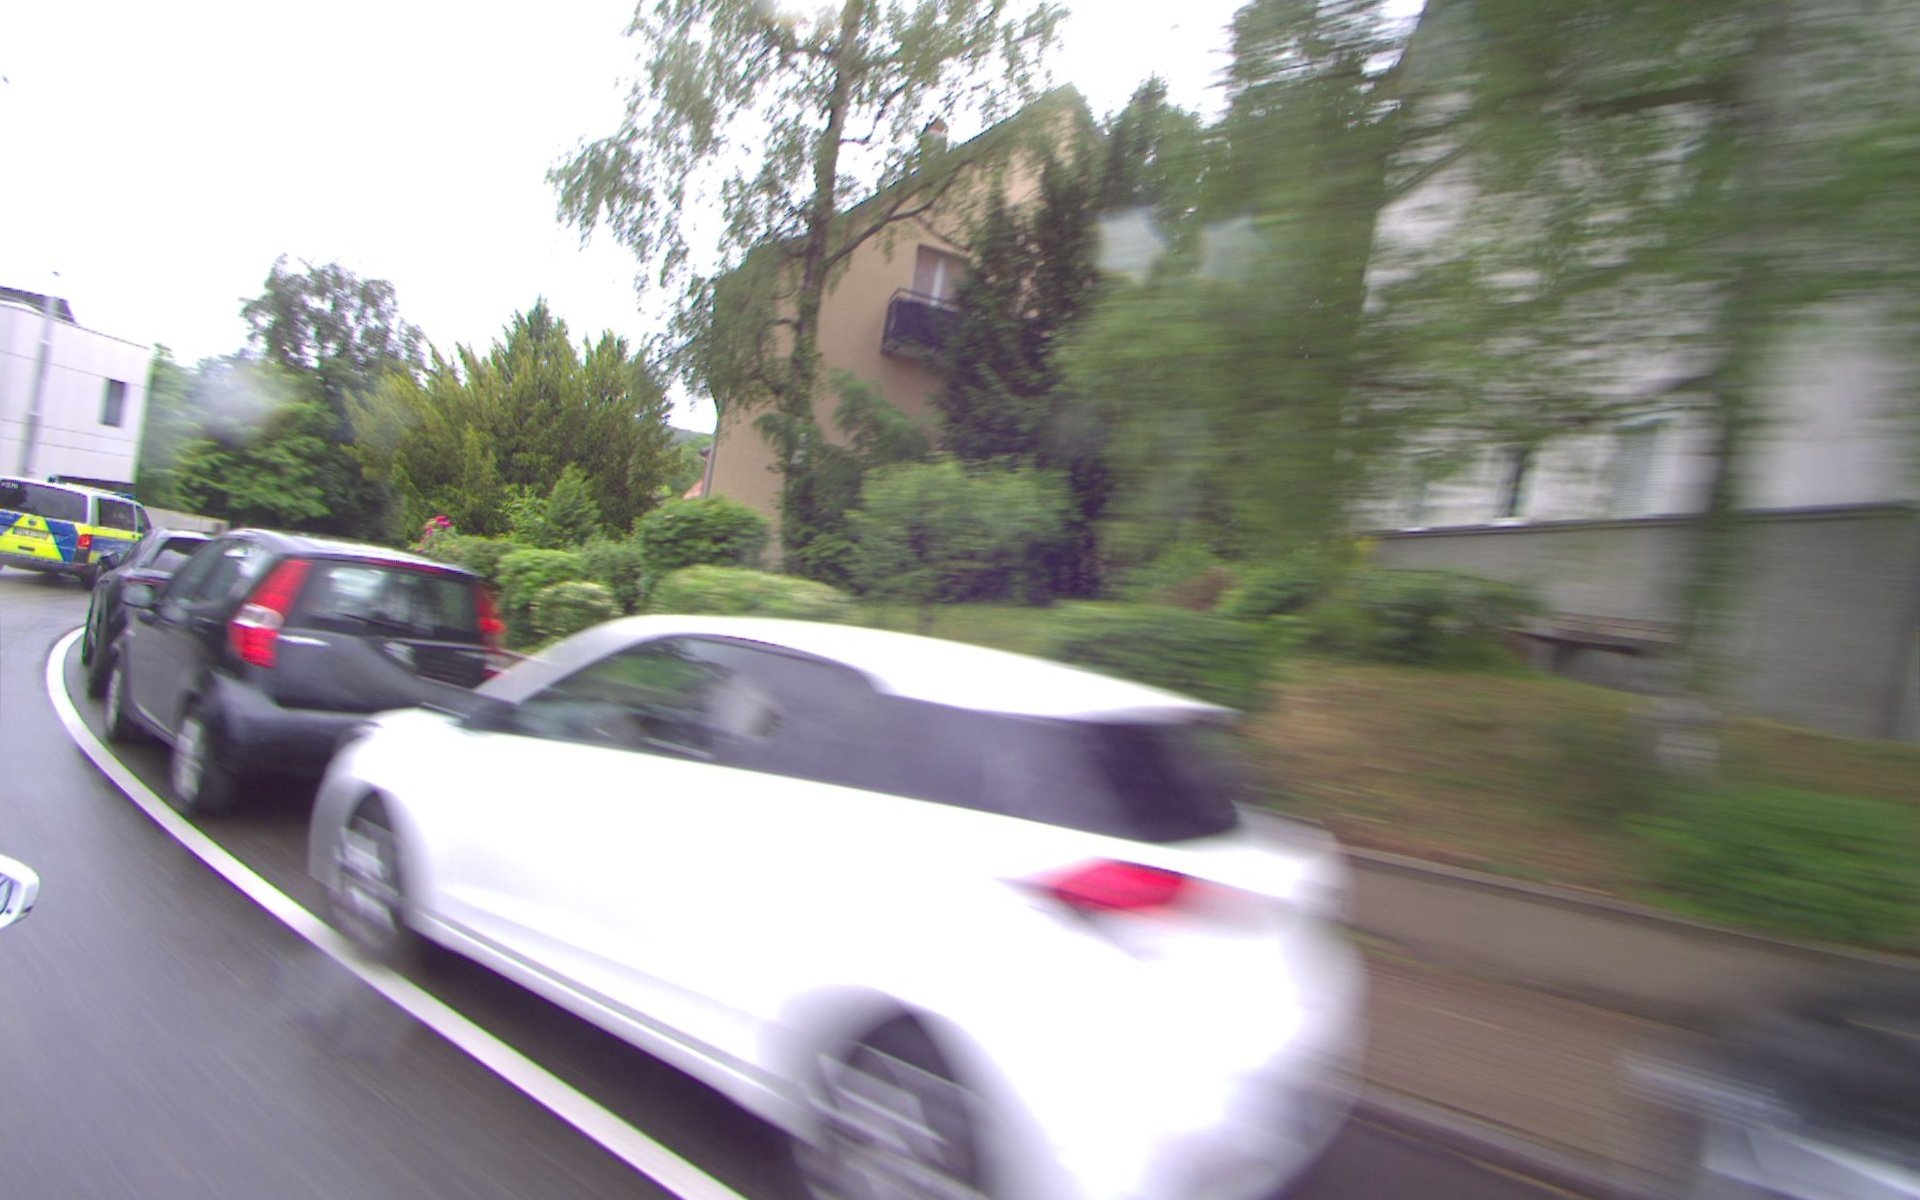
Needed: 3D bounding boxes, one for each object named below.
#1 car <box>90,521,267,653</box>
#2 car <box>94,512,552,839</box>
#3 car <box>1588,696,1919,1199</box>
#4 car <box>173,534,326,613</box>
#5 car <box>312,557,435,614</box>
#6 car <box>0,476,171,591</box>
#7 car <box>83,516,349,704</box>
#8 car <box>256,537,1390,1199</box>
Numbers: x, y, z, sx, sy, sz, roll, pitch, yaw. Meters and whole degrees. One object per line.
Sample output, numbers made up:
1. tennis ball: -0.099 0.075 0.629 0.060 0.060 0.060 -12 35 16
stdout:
1. car: -10.954 -0.243 14.212 1.673 1.490 3.701 6 0 -37
2. car: -4.391 0.329 6.715 3.556 1.524 1.617 7 0 42
3. car: 3.383 1.216 1.186 4.252 1.536 1.628 7 -1 29
4. car: -15.673 -0.573 22.463 1.790 1.363 4.594 8 -2 -24
5. car: -18.391 -0.408 31.801 1.755 1.452 4.562 8 -2 -10
6. car: -18.462 -1.297 20.946 1.976 1.914 4.546 9 -3 -24
7. car: -7.683 0.019 10.222 1.709 1.453 4.020 6 0 -42
8. car: -0.764 0.721 3.745 3.968 1.482 1.726 7 0 35
